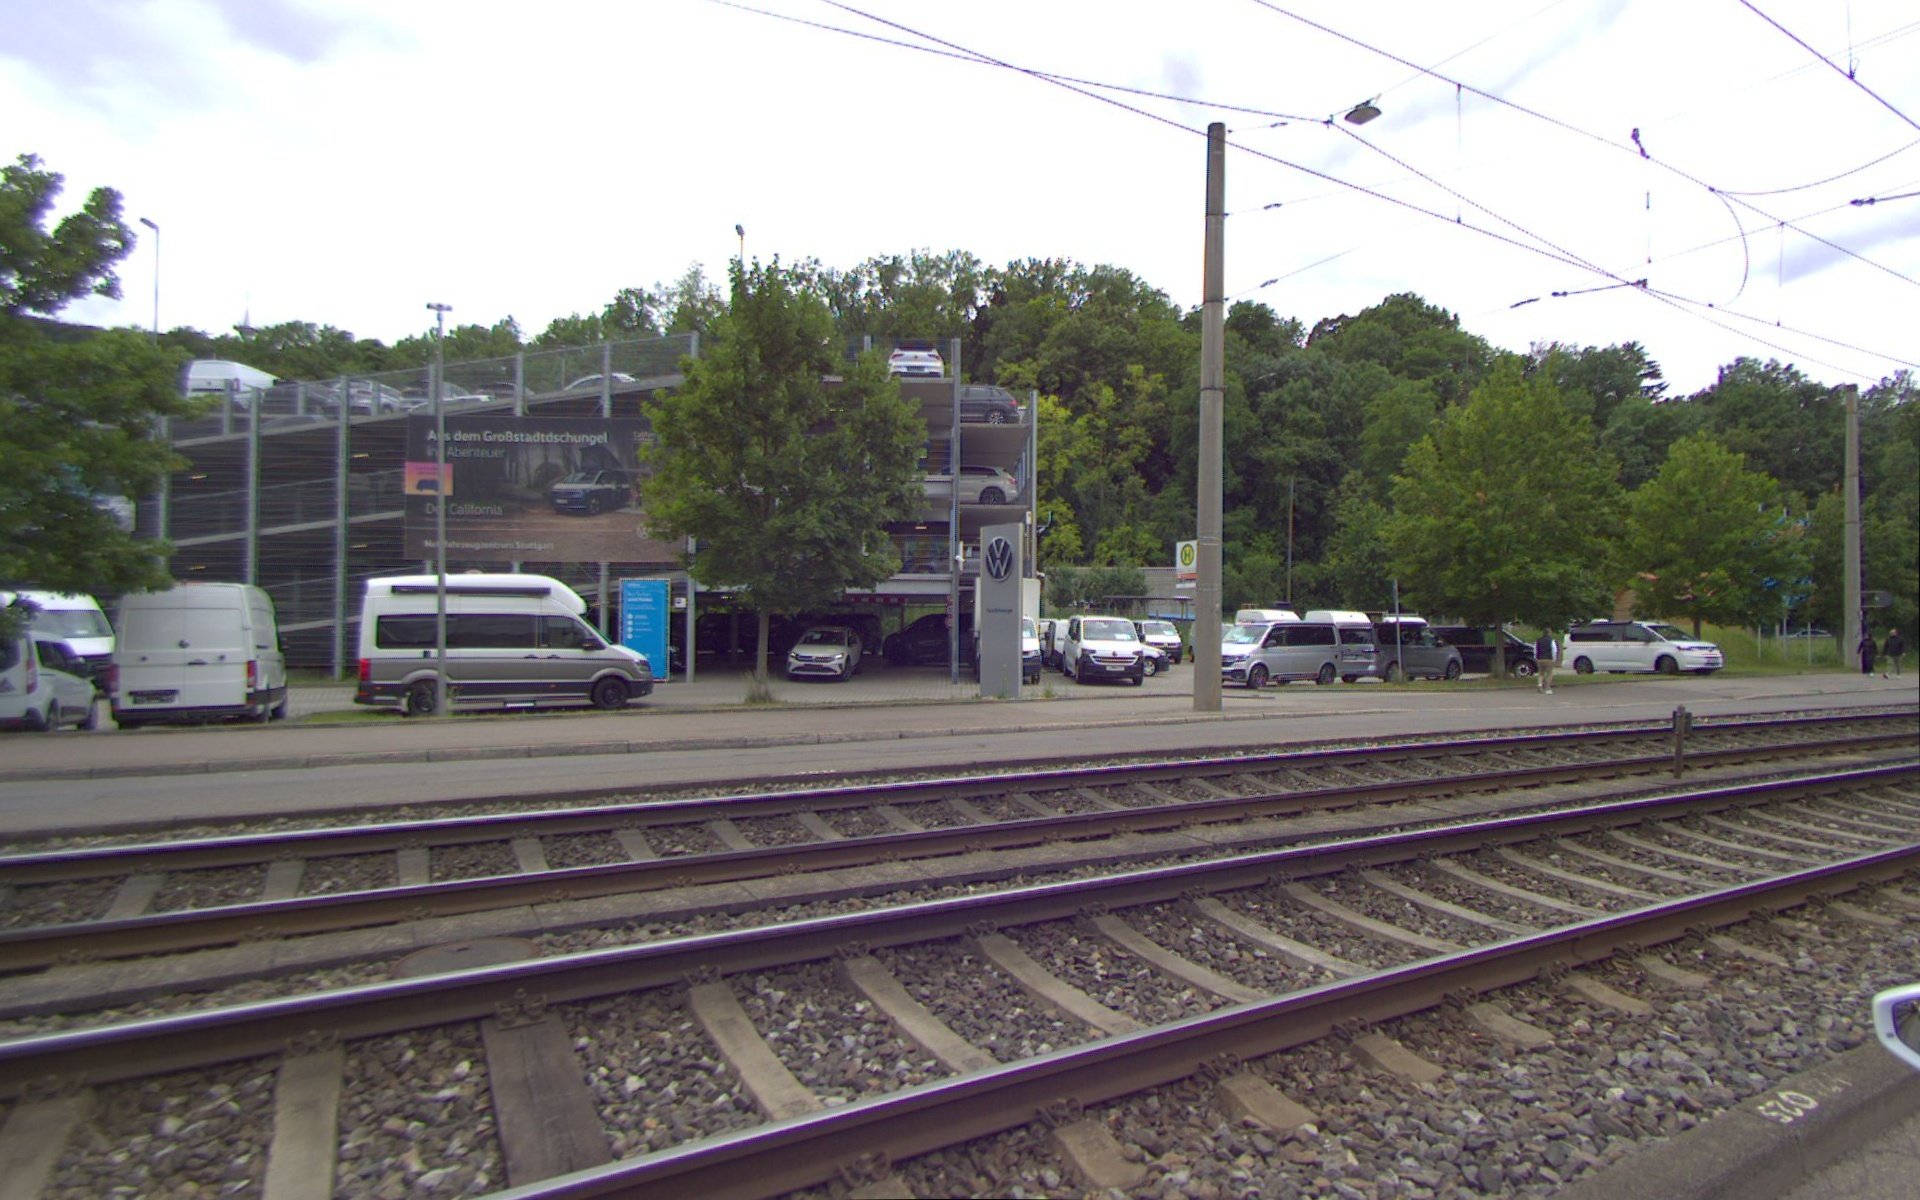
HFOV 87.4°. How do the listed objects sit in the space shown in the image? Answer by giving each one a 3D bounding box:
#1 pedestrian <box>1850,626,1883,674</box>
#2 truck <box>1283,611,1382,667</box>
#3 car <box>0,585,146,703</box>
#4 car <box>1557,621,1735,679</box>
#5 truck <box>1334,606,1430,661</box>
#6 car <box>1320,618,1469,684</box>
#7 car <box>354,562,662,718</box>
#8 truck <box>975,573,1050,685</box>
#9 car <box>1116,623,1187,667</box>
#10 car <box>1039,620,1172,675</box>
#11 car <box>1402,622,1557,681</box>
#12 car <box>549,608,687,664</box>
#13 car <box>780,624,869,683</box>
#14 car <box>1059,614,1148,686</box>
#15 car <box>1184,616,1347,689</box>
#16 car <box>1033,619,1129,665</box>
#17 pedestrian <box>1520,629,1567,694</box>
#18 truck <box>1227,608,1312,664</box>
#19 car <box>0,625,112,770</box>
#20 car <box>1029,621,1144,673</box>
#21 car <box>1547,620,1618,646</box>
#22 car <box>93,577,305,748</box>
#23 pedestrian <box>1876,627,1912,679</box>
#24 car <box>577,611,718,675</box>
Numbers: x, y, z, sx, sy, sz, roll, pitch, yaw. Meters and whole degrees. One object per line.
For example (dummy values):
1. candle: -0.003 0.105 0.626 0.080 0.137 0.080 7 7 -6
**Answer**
1. pedestrian: 33.646 1.843 37.295 0.844 1.736 0.626 1 1 -26
2. truck: 18.263 1.892 49.621 2.421 2.622 5.776 0 -2 -4
3. car: -22.502 1.025 24.750 5.850 2.636 1.999 0 -1 32
4. car: 24.465 1.731 36.104 2.133 1.913 5.051 1 -1 -19
5. truck: 20.922 1.655 50.134 2.421 2.622 5.070 0 -2 -4
6. car: 14.485 1.663 33.410 5.070 2.040 1.984 1 -2 -31
7. car: -9.740 0.857 22.022 5.860 3.059 2.100 1 -2 -27
8. truck: 1.523 0.900 31.252 2.078 3.125 5.940 0 -2 1
9. car: 9.217 2.130 48.735 1.946 2.040 4.258 1 -2 -11
10. car: 5.081 1.675 35.531 4.381 1.855 2.000 0 -1 -3
11. car: 19.142 1.867 37.314 4.976 2.040 2.165 0 -2 25
12. car: -12.384 1.306 36.436 4.415 1.929 1.983 1 -2 -32
13. car: -4.003 1.567 30.303 1.960 1.639 4.137 0 -2 2
14. car: 4.314 1.500 31.014 1.961 2.040 4.731 0 -2 -2
15. car: 9.224 1.539 30.202 4.863 2.040 1.984 1 -2 -31
16. car: 5.754 1.948 47.911 4.217 2.040 1.989 0 0 43
17. pedestrian: 15.839 1.646 27.247 1.032 1.678 0.713 1 1 -36
18. truck: 15.187 1.756 49.634 2.421 2.622 5.070 0 -2 -4
19. car: -15.720 1.485 16.598 1.982 2.133 4.341 1 -2 -32
20. car: 5.121 1.898 40.949 4.381 2.039 2.000 0 -1 -3
21. car: 49.431 2.612 79.829 4.315 2.040 2.001 1 -1 2
22. car: -13.649 1.029 18.427 2.219 2.636 5.450 1 -1 -28
23. pedestrian: 33.951 1.902 36.512 0.844 1.837 0.674 1 1 -26
24. car: -9.934 1.337 31.945 3.924 1.929 1.999 0 -2 24
